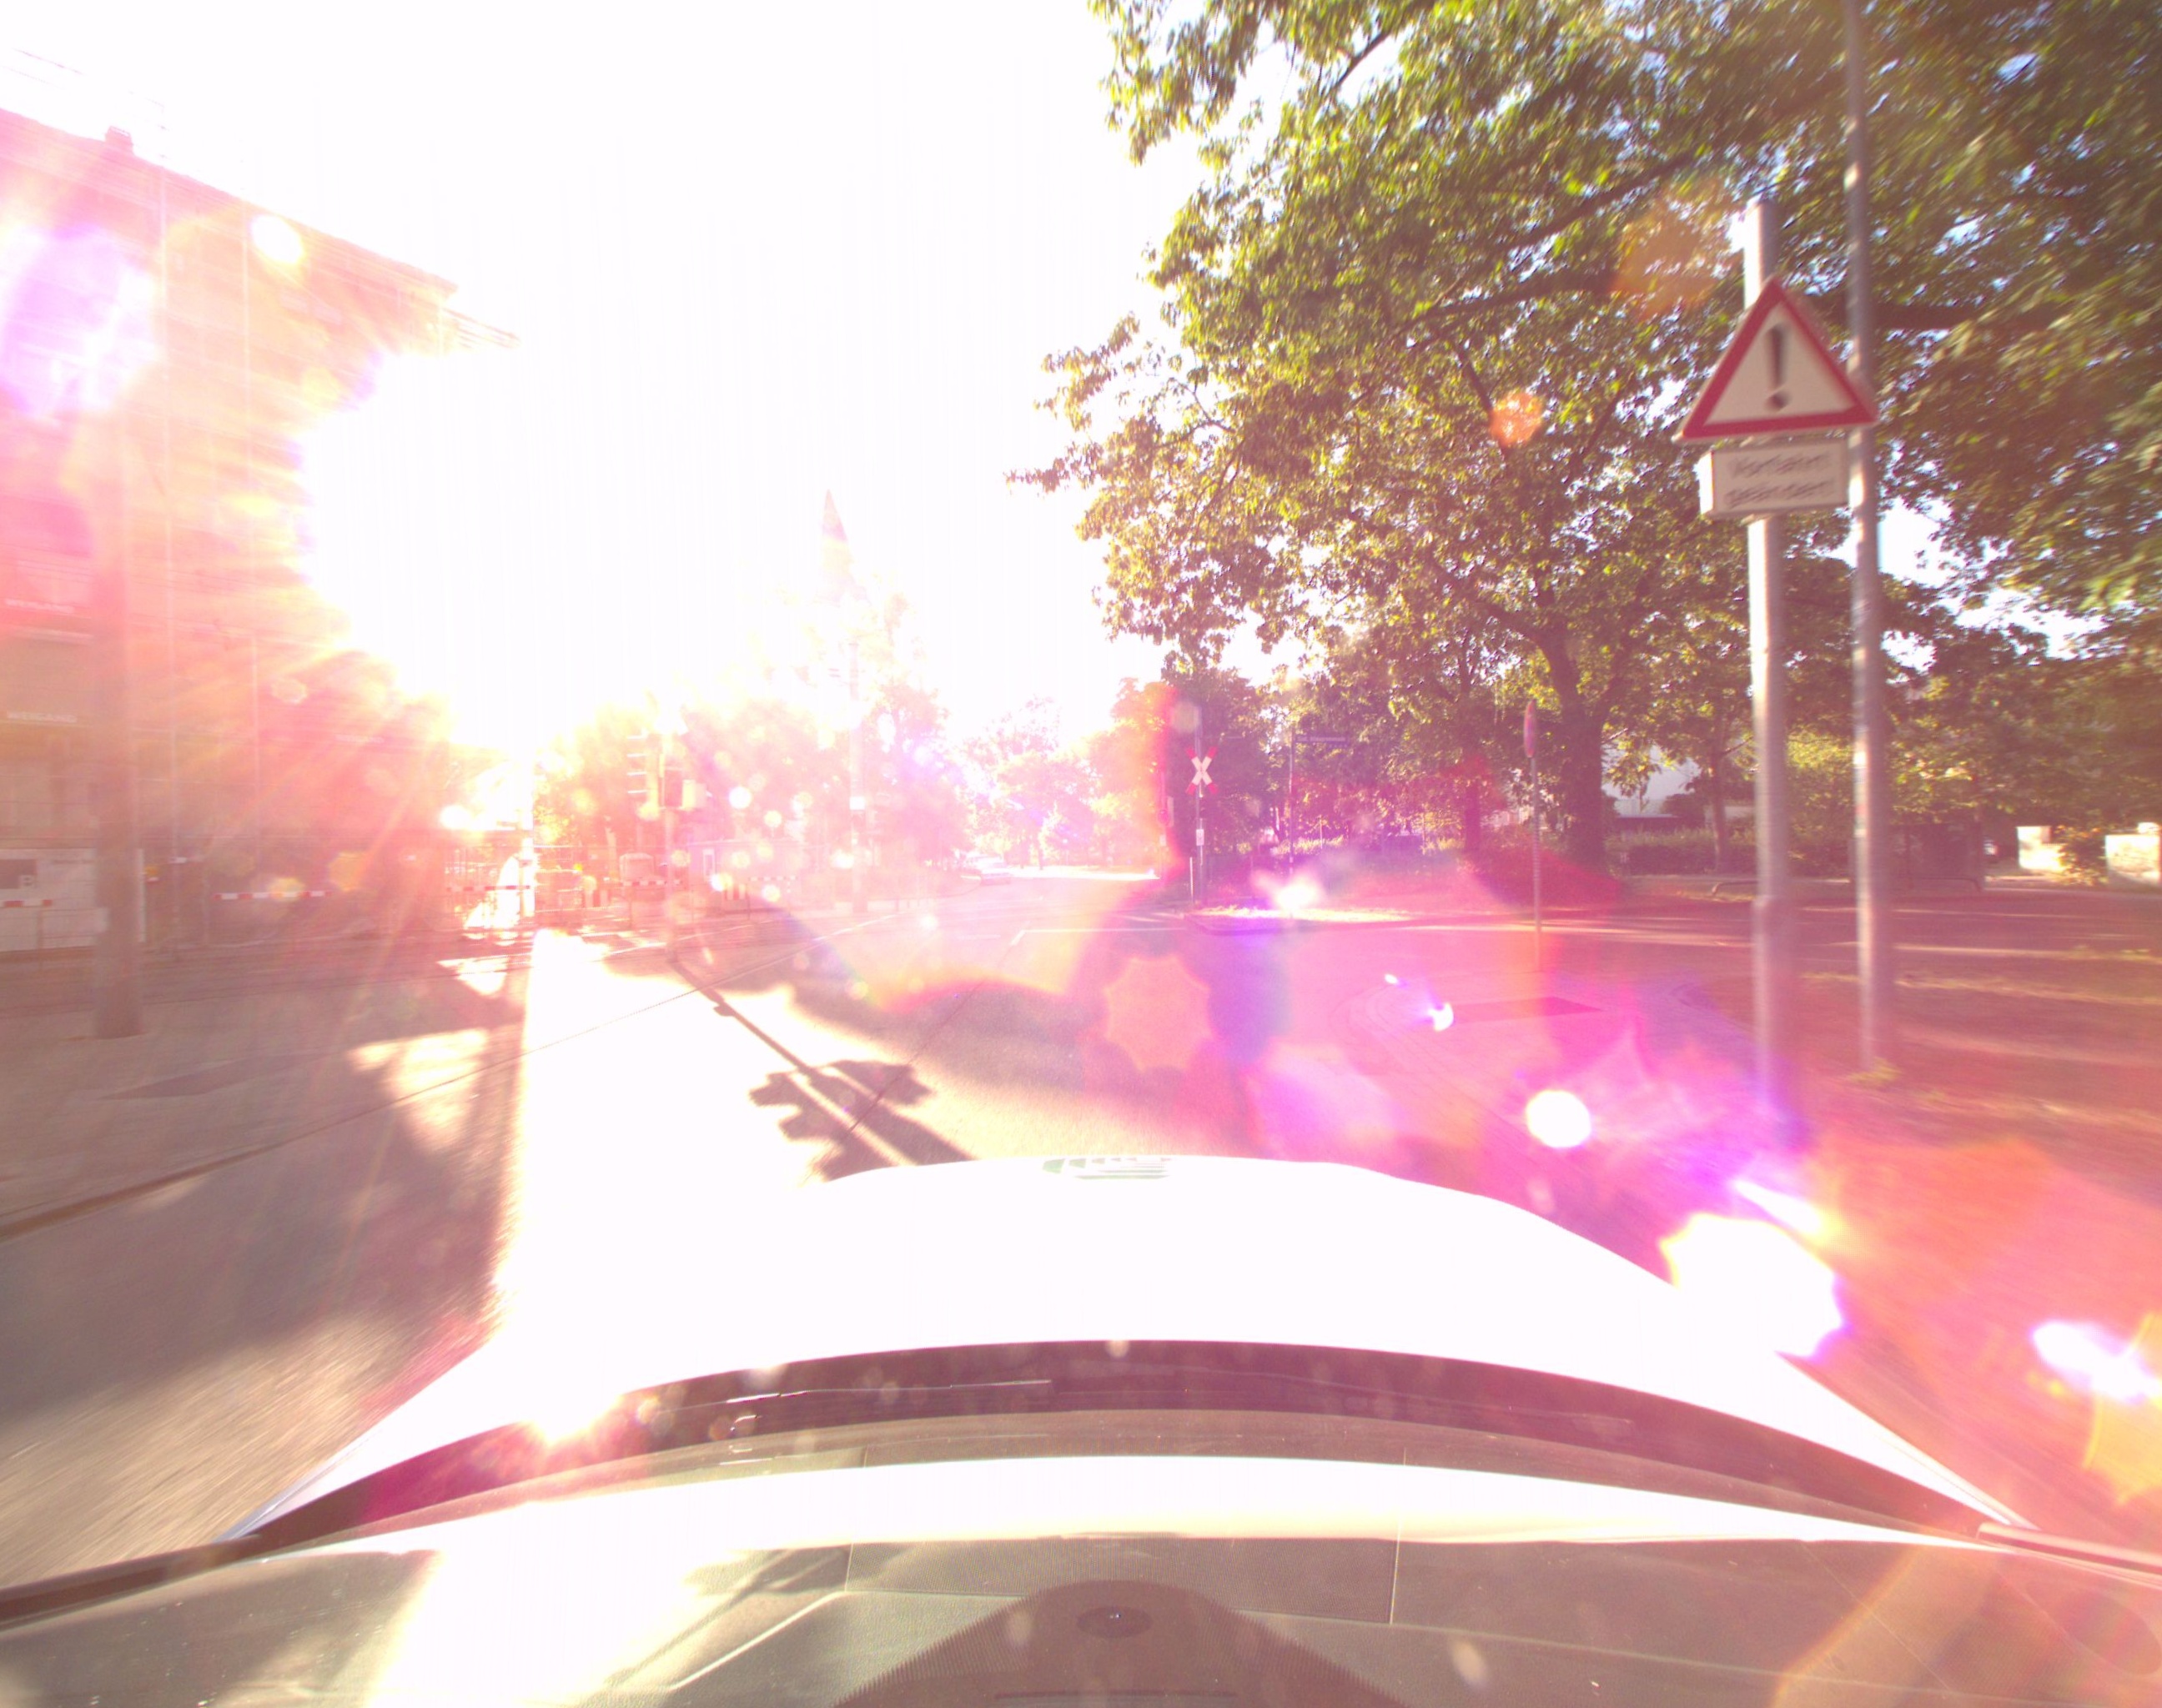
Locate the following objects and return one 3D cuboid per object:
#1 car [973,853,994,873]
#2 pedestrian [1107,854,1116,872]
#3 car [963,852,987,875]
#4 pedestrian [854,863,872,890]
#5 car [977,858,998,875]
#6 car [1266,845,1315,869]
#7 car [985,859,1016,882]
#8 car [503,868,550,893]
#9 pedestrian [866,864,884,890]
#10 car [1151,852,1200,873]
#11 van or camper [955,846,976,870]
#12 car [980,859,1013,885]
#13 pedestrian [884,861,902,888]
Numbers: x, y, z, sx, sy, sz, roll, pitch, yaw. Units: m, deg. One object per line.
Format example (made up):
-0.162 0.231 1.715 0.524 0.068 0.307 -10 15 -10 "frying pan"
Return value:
-9.939 0.886 82.776 1.851 1.946 4.823 -1 0 -10 "car"
2.754 0.784 73.772 0.771 1.574 0.767 -2 0 -1 "pedestrian"
-11.741 1.051 89.834 1.855 2.356 5.158 -1 0 -16 "car"
-10.545 1.077 39.368 0.548 1.233 0.726 -2 0 7 "pedestrian"
-8.572 1.138 74.485 1.616 1.501 3.684 -1 0 -10 "car"
18.435 0.224 71.517 1.934 2.013 5.185 -2 0 43 "car"
-5.621 1.141 56.552 1.824 1.415 4.481 -3 0 -9 "car"
-39.585 1.872 58.144 4.167 1.655 1.903 -2 -1 43 "car"
-9.959 1.108 39.373 0.548 1.195 0.886 -2 0 7 "pedestrian"
8.043 0.662 69.159 1.785 1.675 4.346 1 1 45 "car"
-14.513 0.546 102.356 2.092 2.908 6.304 -1 0 -13 "van or camper"
-5.115 1.063 49.370 1.777 1.415 4.489 -3 0 -6 "car"
-9.117 0.997 39.483 0.548 1.298 0.767 -2 0 7 "pedestrian"
